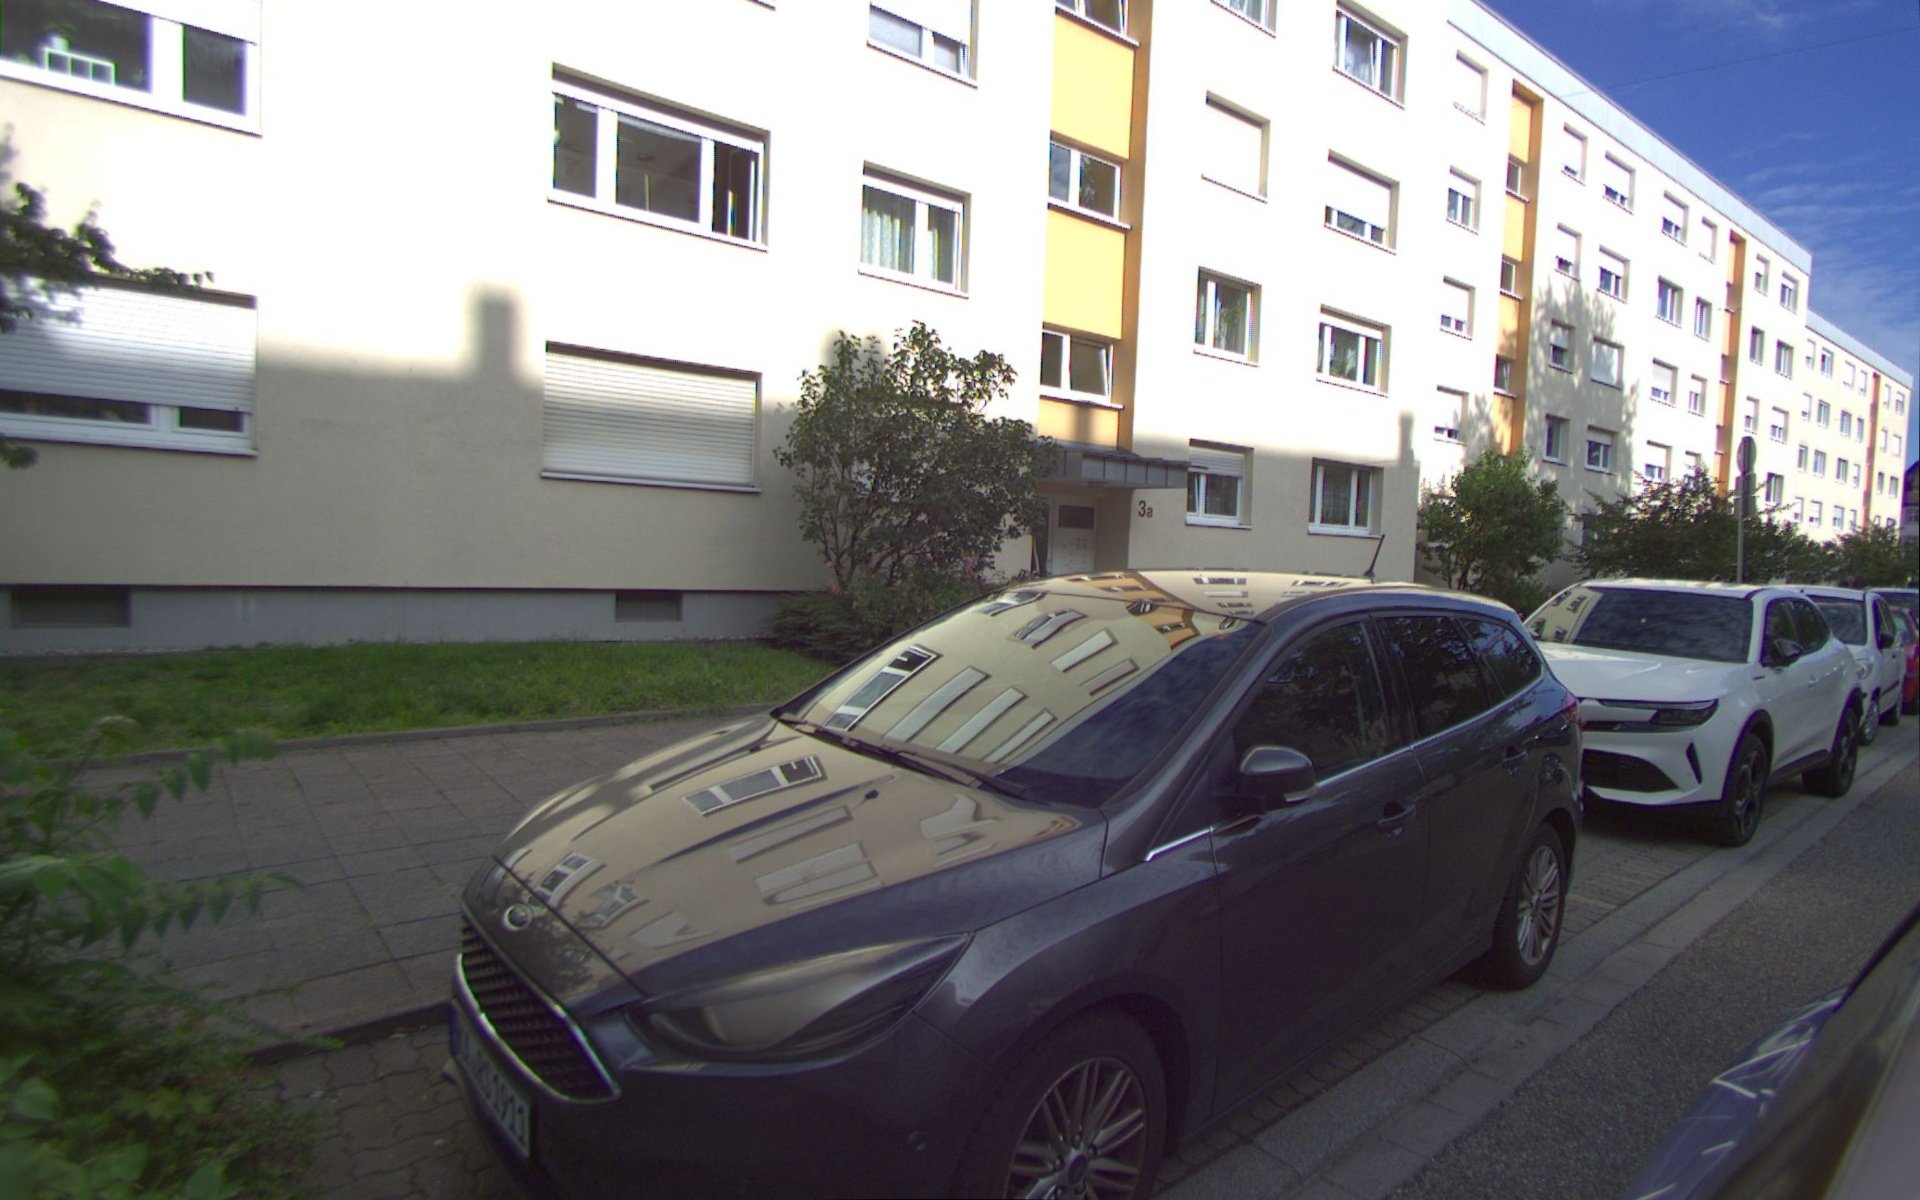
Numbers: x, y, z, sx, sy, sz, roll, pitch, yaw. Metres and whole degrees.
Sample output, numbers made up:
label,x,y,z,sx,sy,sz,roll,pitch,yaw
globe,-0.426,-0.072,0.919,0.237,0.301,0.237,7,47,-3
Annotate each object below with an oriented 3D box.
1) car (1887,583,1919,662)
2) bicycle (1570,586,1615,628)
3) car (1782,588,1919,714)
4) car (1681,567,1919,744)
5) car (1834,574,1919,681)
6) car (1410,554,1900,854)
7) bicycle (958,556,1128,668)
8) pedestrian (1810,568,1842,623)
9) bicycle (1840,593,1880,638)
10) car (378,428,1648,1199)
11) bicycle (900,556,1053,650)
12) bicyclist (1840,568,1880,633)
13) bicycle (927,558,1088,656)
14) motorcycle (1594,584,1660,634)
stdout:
label,x,y,z,sx,sy,sz,roll,pitch,yaw
car,20.663,0.478,20.745,4.558,1.505,1.733,0,5,-39
bicycle,15.457,0.159,24.724,1.490,0.952,0.459,0,4,-42
car,12.582,0.608,13.912,3.616,1.414,1.517,-1,5,-45
car,9.486,0.502,11.245,3.408,1.575,1.555,0,5,-41
car,16.244,0.428,17.053,4.047,1.599,1.732,-1,5,-42
car,5.163,0.528,7.307,4.160,1.547,1.695,0,3,-38
bicycle,1.030,0.126,12.125,2.170,1.200,0.599,0,6,-41
pedestrian,27.928,-0.143,32.639,0.756,1.742,0.544,1,2,-35
bicycle,24.257,0.411,27.273,1.896,1.149,0.524,0,3,-42
car,0.633,0.487,3.339,4.165,1.546,1.693,0,4,-42
bicycle,0.252,0.029,13.359,2.170,1.128,0.530,0,4,-41
bicyclist,24.178,-0.004,27.197,0.877,1.698,0.624,0,3,-41
bicycle,0.643,0.075,12.876,2.170,1.128,0.598,0,5,-41
motorcycle,15.576,0.194,23.614,2.352,1.057,0.632,0,5,-42
